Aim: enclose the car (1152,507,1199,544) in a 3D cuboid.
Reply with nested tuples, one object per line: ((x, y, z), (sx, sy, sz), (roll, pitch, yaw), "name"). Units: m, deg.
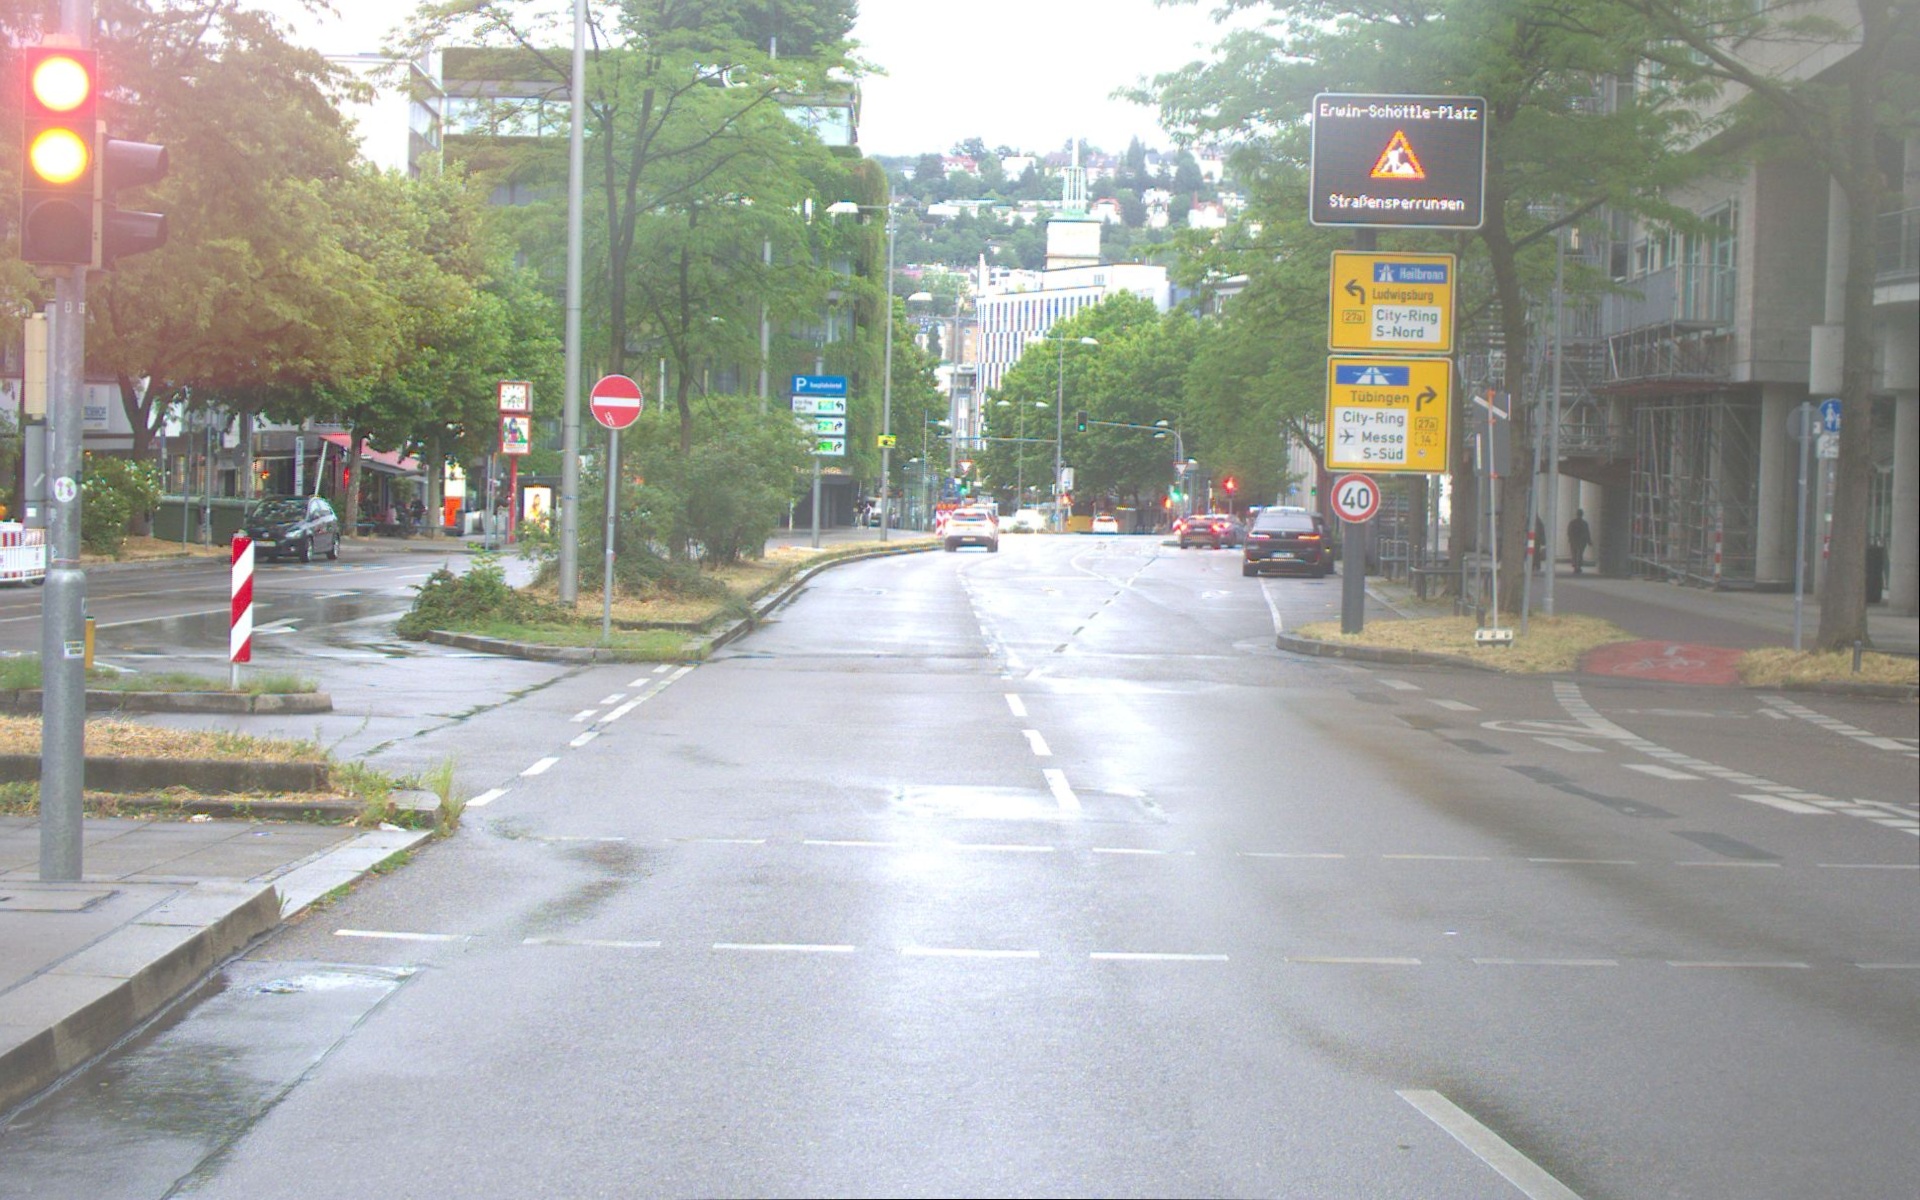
((10.452, -3.609, 166.802), (1.993, 1.730, 4.000), (1, 0, -1), "car")

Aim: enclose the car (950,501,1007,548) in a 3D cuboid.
((0.706, -2.826, 129.277), (1.829, 1.634, 4.300), (2, 1, 4), "car")

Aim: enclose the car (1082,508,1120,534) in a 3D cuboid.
((9.791, -5.481, 239.095), (1.993, 1.752, 4.001), (2, 1, -6), "car")

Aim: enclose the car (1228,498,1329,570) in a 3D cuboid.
((7.756, -1.618, 83.426), (2.339, 1.685, 3.999), (1, 1, 6), "car")

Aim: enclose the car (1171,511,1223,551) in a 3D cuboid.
((10.708, -3.120, 155.609), (1.993, 1.718, 4.000), (1, 0, -1), "car")

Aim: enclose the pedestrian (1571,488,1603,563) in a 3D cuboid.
((16.267, -1.924, 89.207), (0.775, 1.914, 0.702), (1, 0, 10), "pedestrian")
